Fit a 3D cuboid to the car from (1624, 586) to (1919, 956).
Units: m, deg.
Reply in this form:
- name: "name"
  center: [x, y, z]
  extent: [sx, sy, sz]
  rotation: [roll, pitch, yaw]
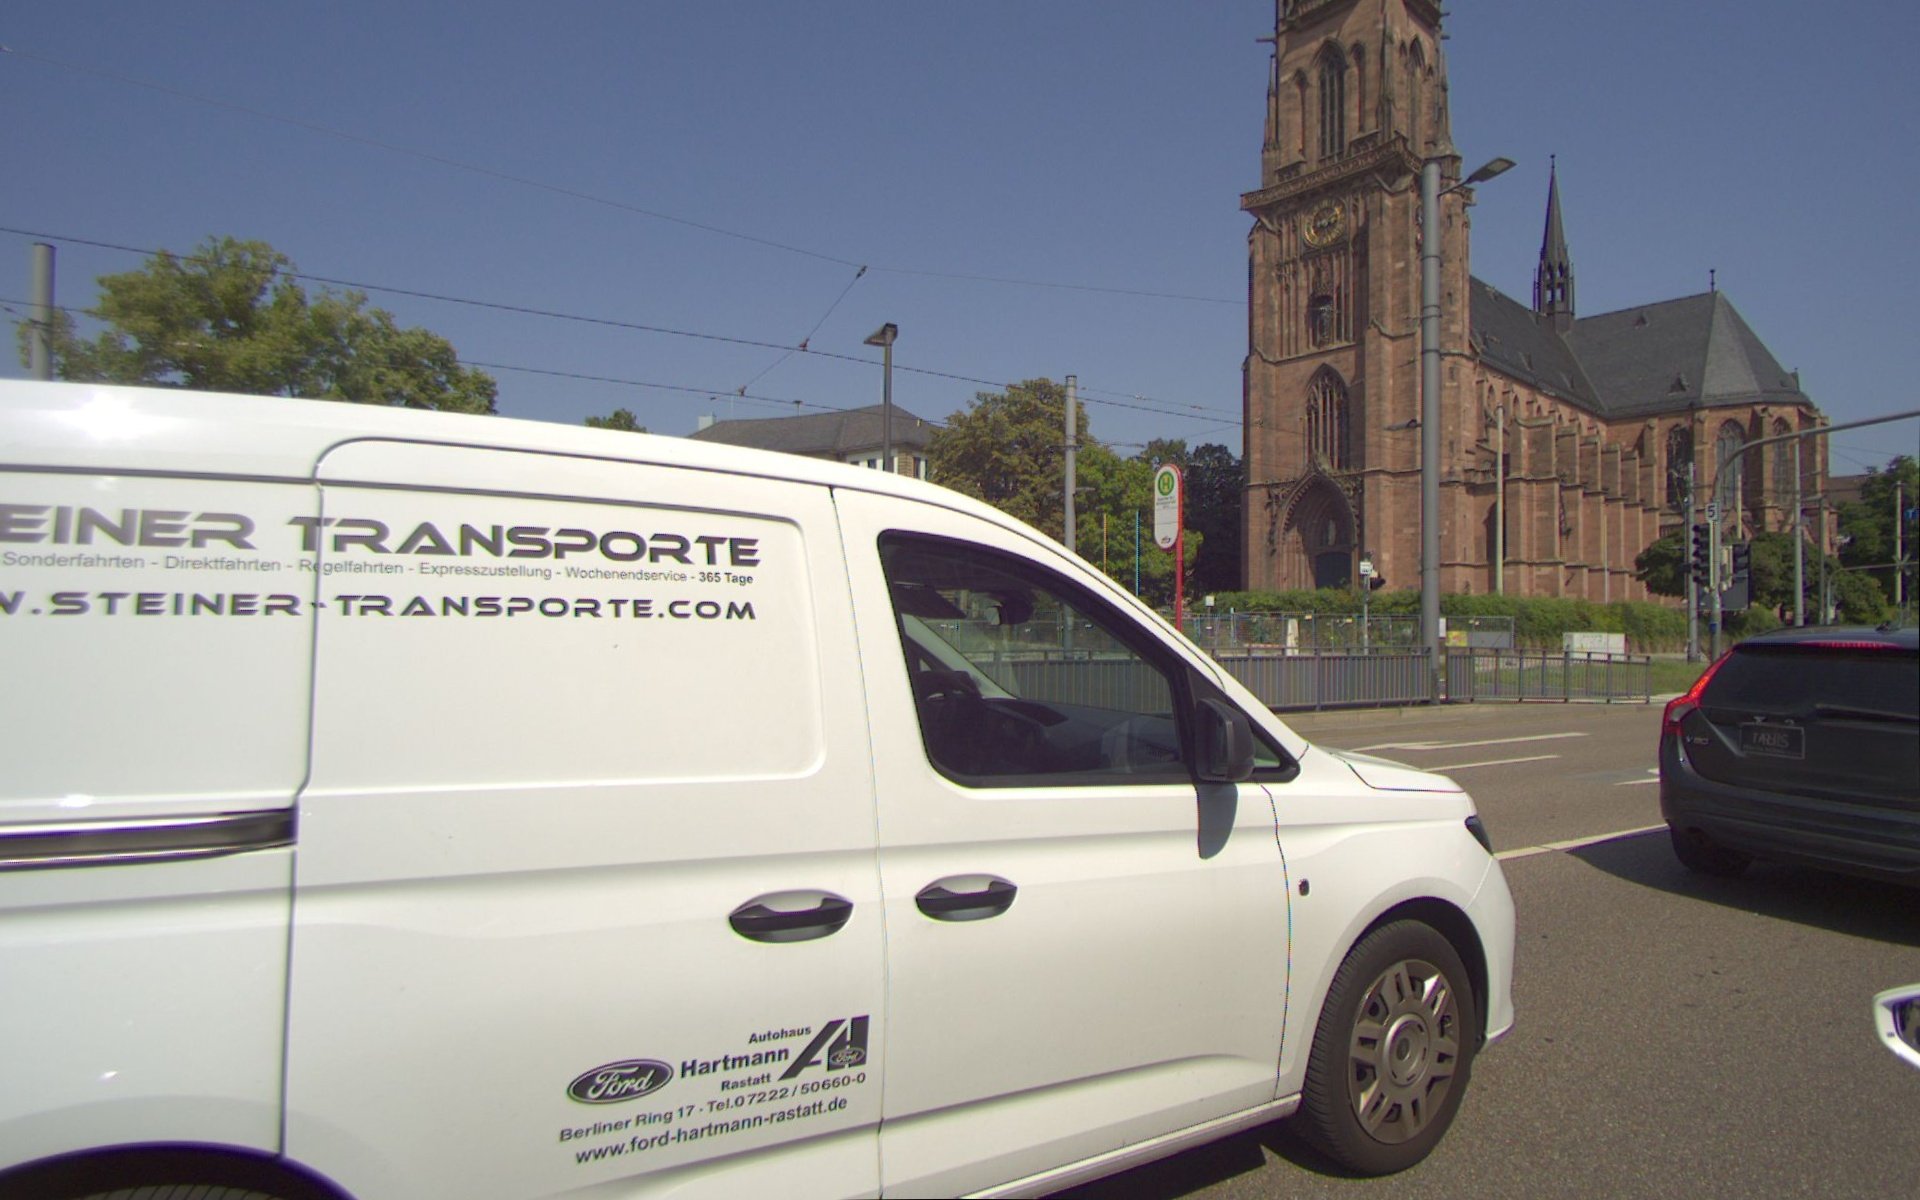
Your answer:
- name: "car"
  center: [5.915, 0.793, 5.828]
  extent: [4.257, 1.636, 1.739]
  rotation: [1, 0, -30]

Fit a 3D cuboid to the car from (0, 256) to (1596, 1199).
- name: "car"
  center: [-0.328, 0.537, 2.720]
  extent: [4.189, 1.844, 1.739]
  rotation: [1, -1, -30]

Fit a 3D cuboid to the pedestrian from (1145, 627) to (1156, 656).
- name: "pedestrian"
  center: [10.033, 2.181, 52.874]
  extent: [0.533, 1.551, 0.436]
  rotation: [0, -1, 5]

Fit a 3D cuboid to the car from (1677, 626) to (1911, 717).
- name: "car"
  center: [14.909, 1.204, 17.898]
  extent: [4.519, 1.454, 1.738]
  rotation: [1, -3, -30]
